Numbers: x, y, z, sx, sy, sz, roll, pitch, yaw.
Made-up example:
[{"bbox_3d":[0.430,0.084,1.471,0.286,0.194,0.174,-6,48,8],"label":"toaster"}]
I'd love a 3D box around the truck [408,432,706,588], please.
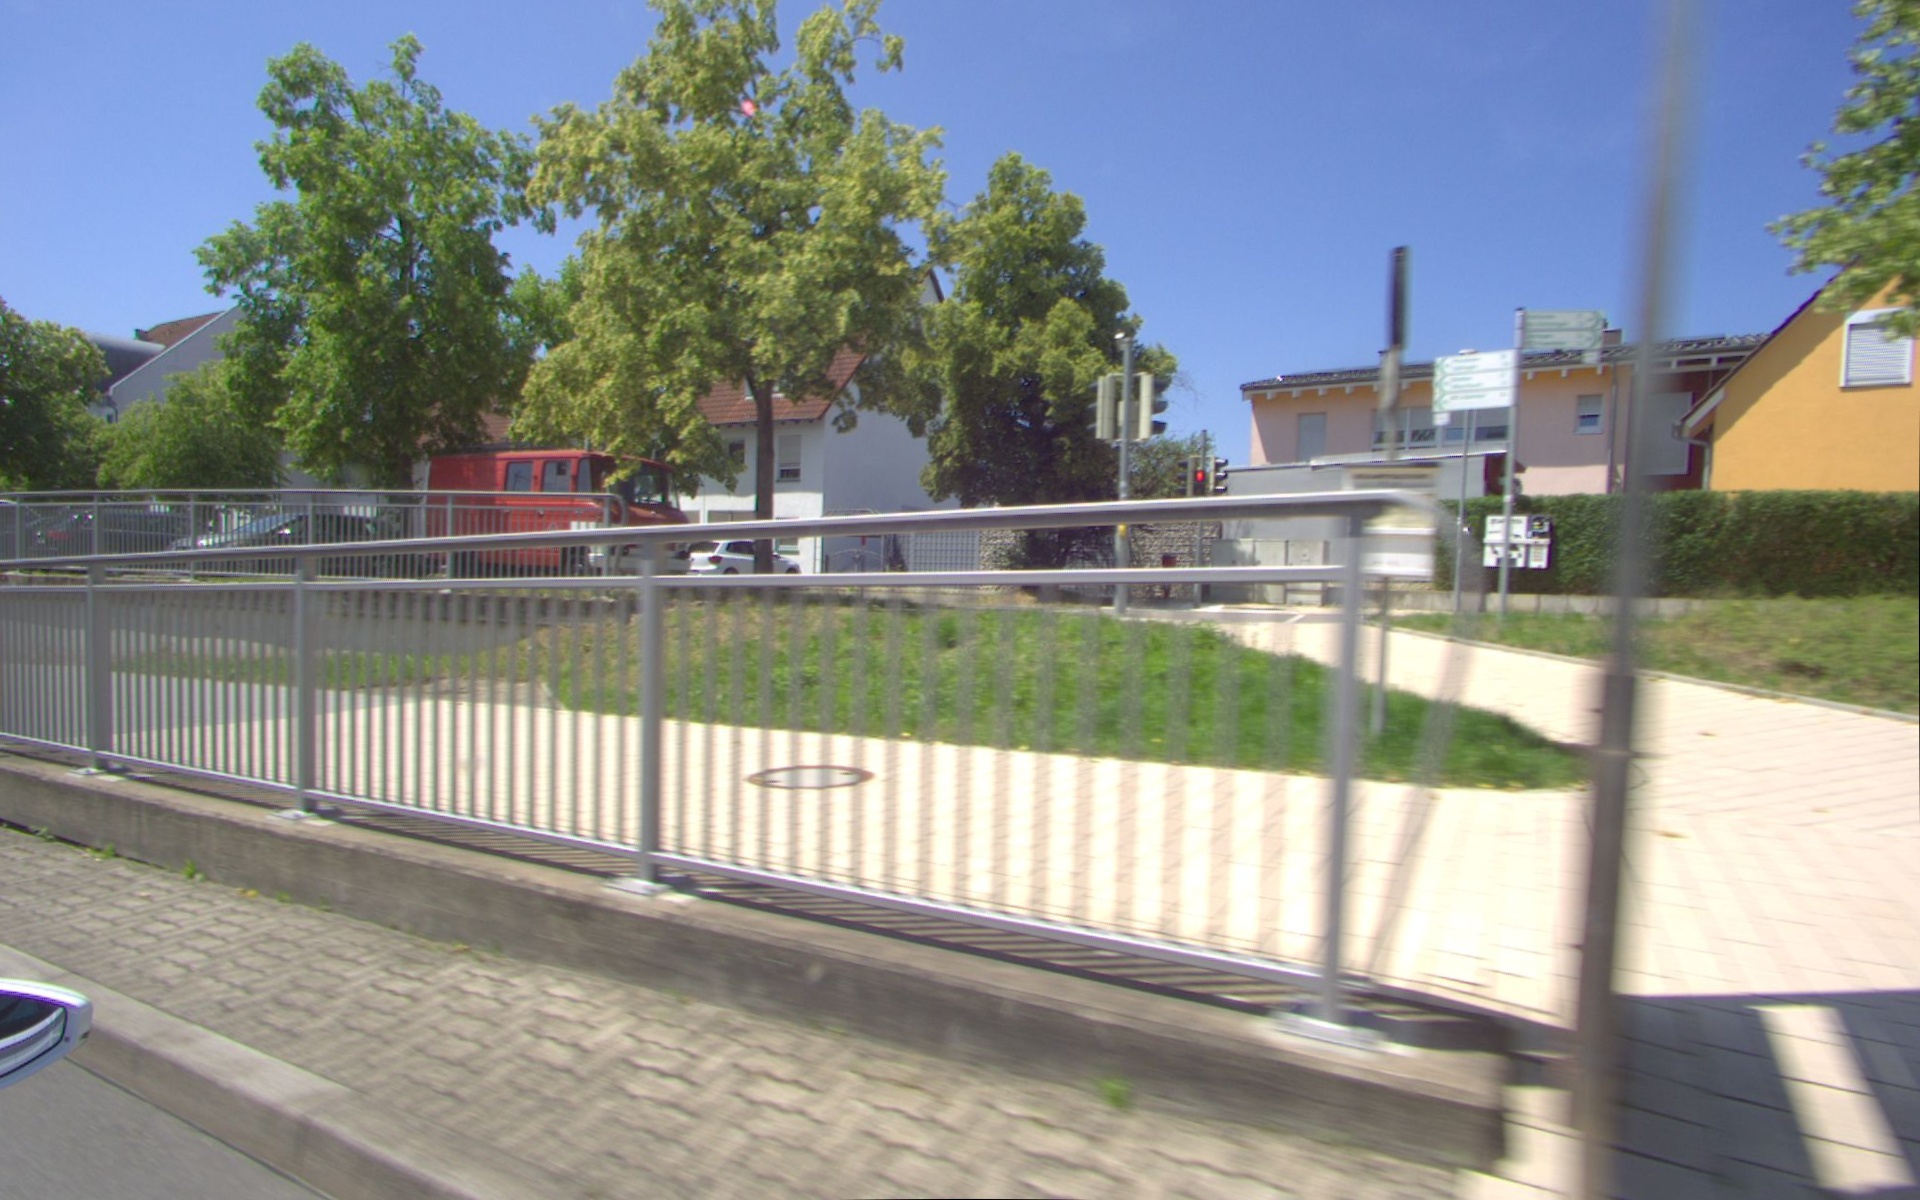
[{"bbox_3d":[-7.153,-1.494,17.622,5.179,2.366,2.129,3,2,30],"label":"truck"}]

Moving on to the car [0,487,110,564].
[{"bbox_3d":[-27.710,-2.158,28.438,1.959,2.091,5.102,3,2,31],"label":"car"}]

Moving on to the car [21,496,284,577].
[{"bbox_3d":[-17.587,-1.325,22.030,1.661,1.519,4.196,3,2,31],"label":"car"}]

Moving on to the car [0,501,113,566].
[{"bbox_3d":[-25.543,-1.797,26.740,1.661,1.618,4.196,3,2,31],"label":"car"}]

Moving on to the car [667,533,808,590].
[{"bbox_3d":[-6.257,-1.122,28.606,1.731,1.499,3.929,3,3,31],"label":"car"}]

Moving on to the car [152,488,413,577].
[{"bbox_3d":[-13.371,-1.277,19.988,1.722,1.519,3.979,3,2,31],"label":"car"}]

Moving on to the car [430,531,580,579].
[{"bbox_3d":[-15.206,-1.509,33.719,1.731,1.511,4.396,3,3,31],"label":"car"}]
